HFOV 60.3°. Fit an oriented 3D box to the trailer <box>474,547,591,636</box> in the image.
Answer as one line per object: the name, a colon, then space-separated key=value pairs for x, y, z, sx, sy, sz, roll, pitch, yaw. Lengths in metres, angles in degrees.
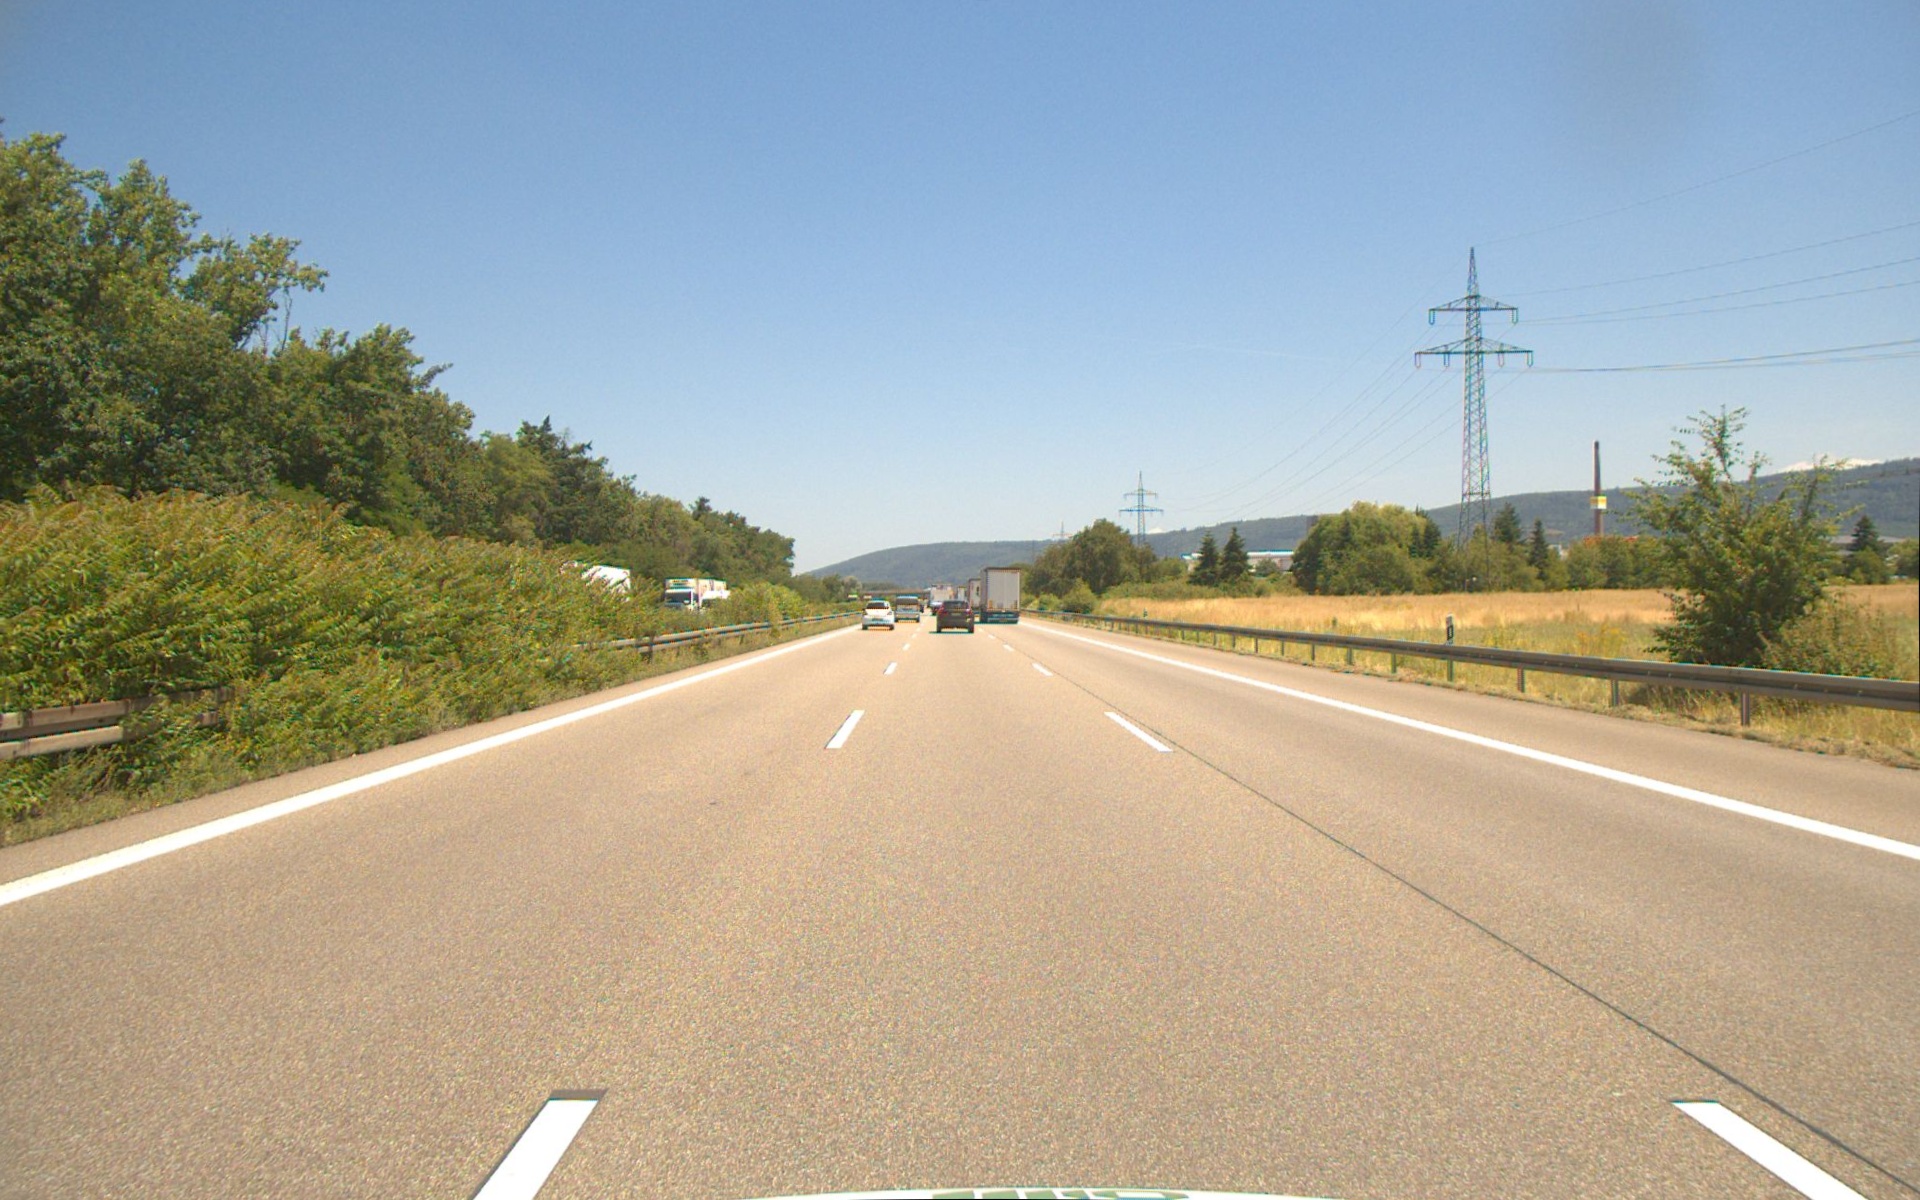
trailer: x=-20.660 y=-0.426 z=80.807 sx=2.610 sy=3.925 sz=12.750 roll=1 pitch=0 yaw=-1

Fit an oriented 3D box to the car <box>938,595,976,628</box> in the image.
car: x=-0.181 y=0.545 z=82.408 sx=1.846 sy=1.542 sz=3.999 roll=1 pitch=0 yaw=-1

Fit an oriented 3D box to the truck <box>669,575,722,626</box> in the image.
truck: x=-21.292 y=0.011 z=133.810 sx=2.641 sy=3.925 sz=11.444 roll=1 pitch=0 yaw=-1

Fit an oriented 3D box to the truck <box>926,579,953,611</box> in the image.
truck: x=-2.450 y=-0.645 z=192.616 sx=3.034 sy=3.535 sz=11.539 roll=1 pitch=0 yaw=-1

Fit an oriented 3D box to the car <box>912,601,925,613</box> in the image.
car: x=-5.807 y=0.936 z=231.971 sx=1.814 sy=1.661 sz=3.999 roll=1 pitch=0 yaw=-1

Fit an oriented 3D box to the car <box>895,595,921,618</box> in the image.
car: x=-3.846 y=0.493 z=123.192 sx=1.814 sy=1.661 sz=3.999 roll=1 pitch=0 yaw=-1

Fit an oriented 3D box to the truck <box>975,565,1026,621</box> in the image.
truck: x=2.976 y=-0.564 z=123.977 sx=3.199 sy=3.925 sz=11.628 roll=1 pitch=0 yaw=-1

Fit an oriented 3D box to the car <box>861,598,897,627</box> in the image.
car: x=-4.349 y=0.659 z=88.926 sx=1.770 sy=1.494 sz=3.999 roll=1 pitch=0 yaw=-1

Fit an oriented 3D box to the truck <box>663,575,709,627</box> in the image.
truck: x=-21.154 y=0.050 z=128.000 sx=2.641 sy=3.925 sz=5.771 roll=1 pitch=0 yaw=-1

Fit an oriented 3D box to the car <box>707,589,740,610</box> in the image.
car: x=-16.512 y=-0.041 z=115.718 sx=1.750 sy=1.426 sz=4.328 roll=1 pitch=0 yaw=-1

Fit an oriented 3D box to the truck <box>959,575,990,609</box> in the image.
truck: x=1.594 y=-0.892 z=184.803 sx=3.034 sy=3.535 sz=11.539 roll=1 pitch=0 yaw=-1
